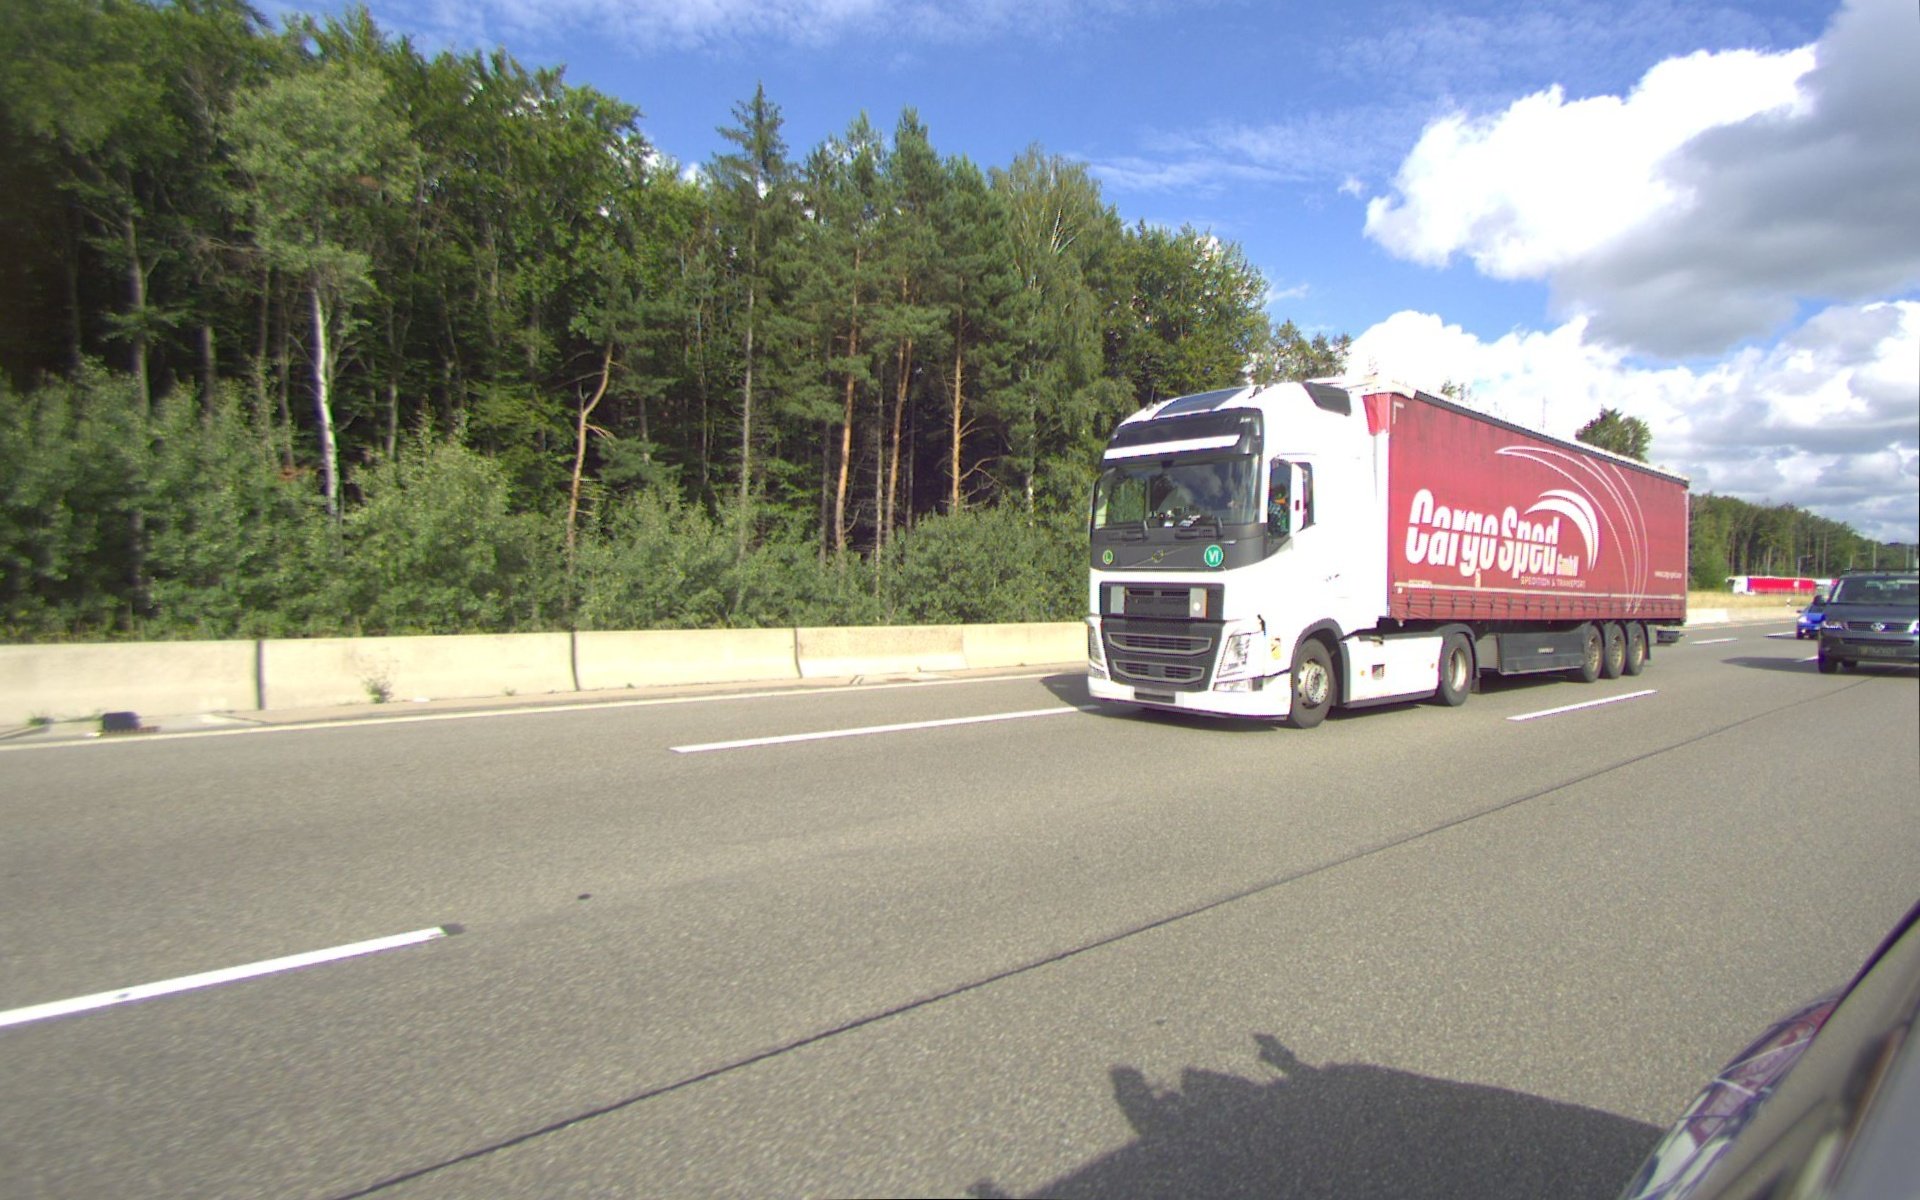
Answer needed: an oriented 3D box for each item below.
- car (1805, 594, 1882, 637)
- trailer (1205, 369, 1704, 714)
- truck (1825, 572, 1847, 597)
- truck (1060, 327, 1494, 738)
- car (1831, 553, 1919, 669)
[{"bbox_3d":[32.035,0.516,36.675,3.931,1.460,1.652,0,1,-42],"label":"car"},{"bbox_3d":[9.403,-0.732,17.532,13.474,4.096,2.778,0,1,-41],"label":"trailer"},{"bbox_3d":[165.197,-2.883,190.873,2.868,4.563,7.074,2,2,40],"label":"truck"},{"bbox_3d":[4.246,-0.699,13.009,5.672,4.096,2.779,0,0,-41],"label":"truck"},{"bbox_3d":[19.255,0.199,20.443,4.846,2.136,1.852,0,0,-41],"label":"car"}]
